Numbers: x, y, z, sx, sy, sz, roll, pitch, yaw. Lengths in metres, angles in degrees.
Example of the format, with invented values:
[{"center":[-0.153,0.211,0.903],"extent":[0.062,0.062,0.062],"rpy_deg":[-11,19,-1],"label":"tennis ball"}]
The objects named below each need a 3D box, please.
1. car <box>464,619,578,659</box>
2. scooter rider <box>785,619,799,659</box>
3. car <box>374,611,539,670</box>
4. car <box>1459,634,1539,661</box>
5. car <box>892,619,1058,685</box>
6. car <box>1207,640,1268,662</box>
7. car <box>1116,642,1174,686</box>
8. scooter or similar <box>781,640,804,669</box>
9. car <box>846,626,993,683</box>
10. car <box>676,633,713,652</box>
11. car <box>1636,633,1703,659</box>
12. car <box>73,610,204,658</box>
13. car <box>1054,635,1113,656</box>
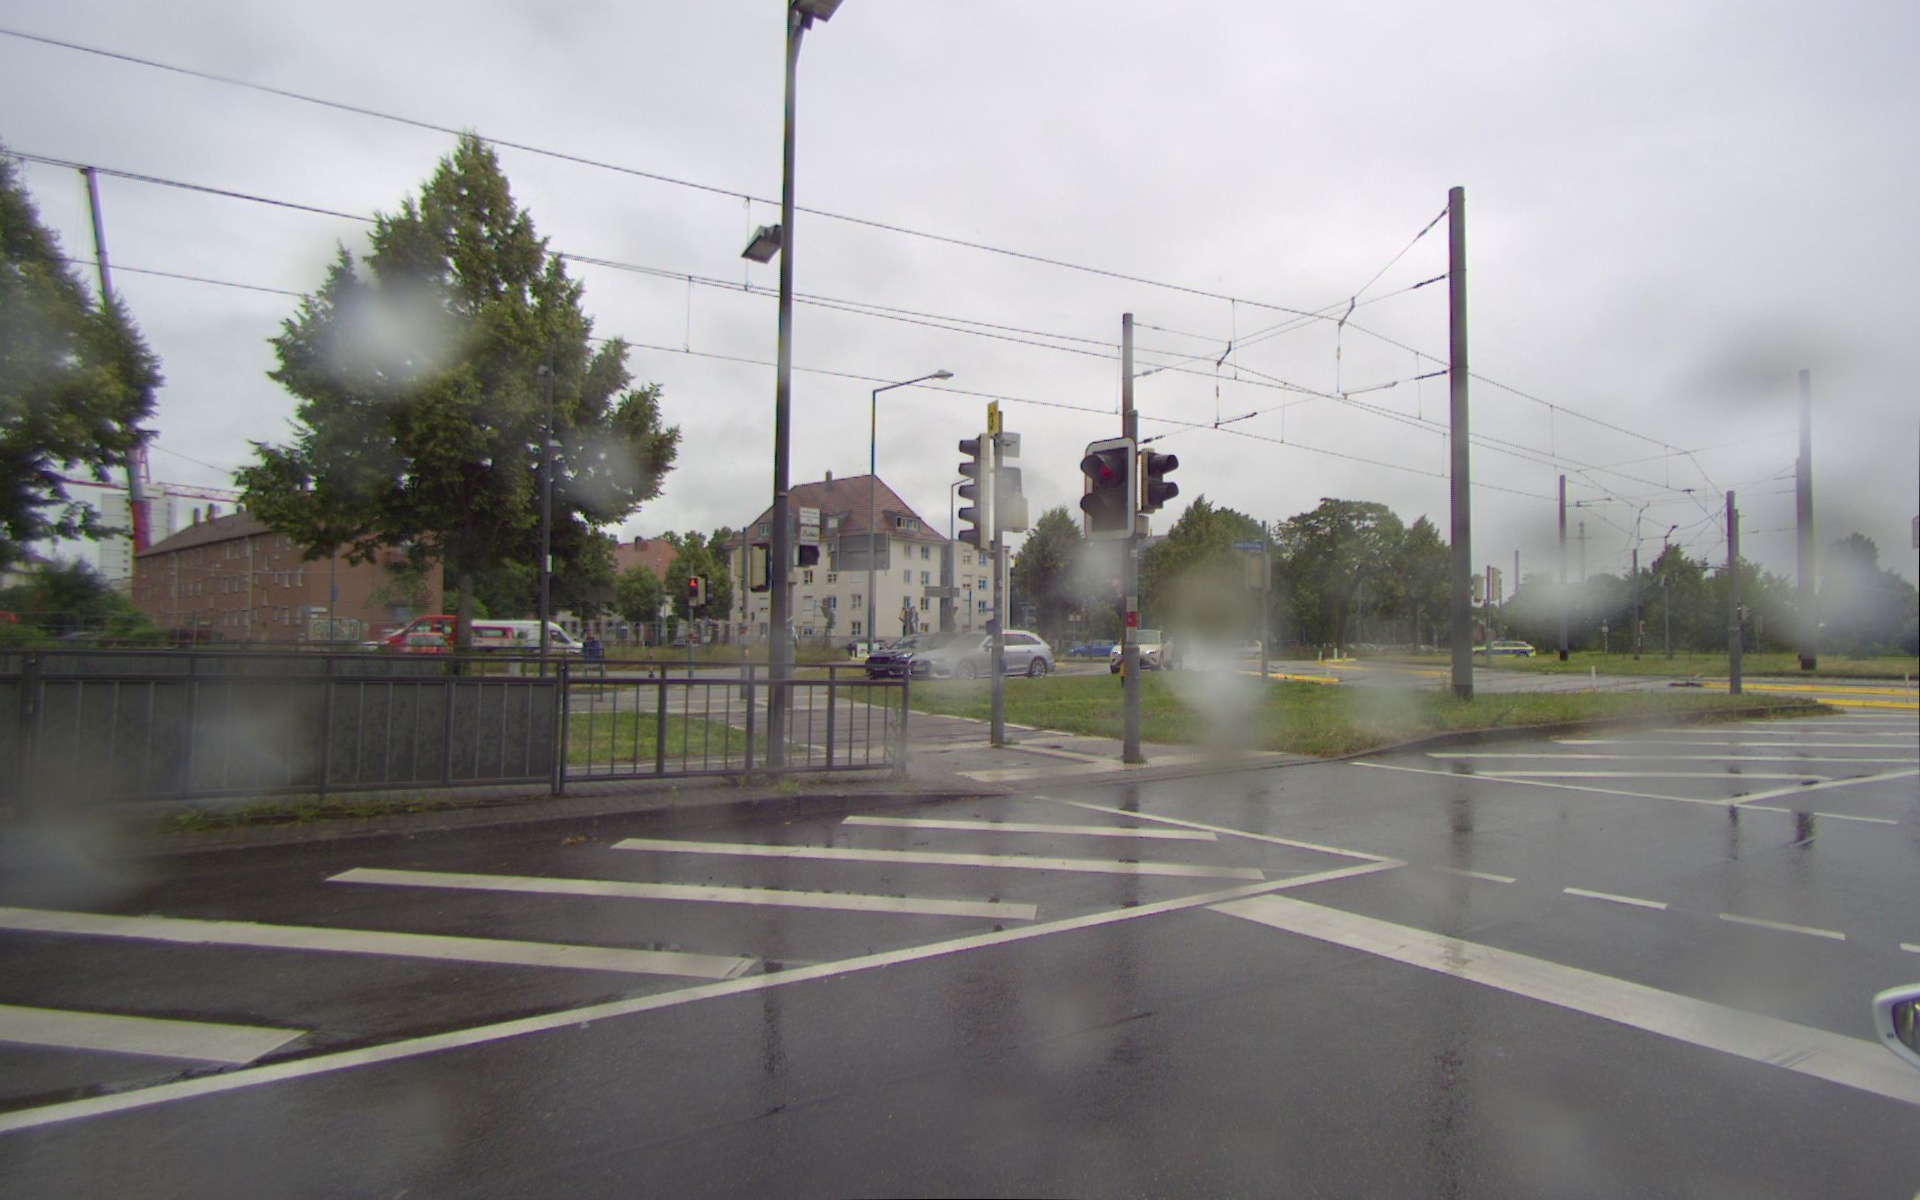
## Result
[{"center":[-25.951,2.336,59.615],"extent":[6.004,2.308,1.617],"rpy_deg":[1,-2,-18],"label":"car"},{"center":[-7.438,1.745,44.573],"extent":[0.425,1.731,0.533],"rpy_deg":[-2,-3,14],"label":"scooter rider"},{"center":[-22.350,1.803,44.889],"extent":[6.389,2.502,1.616],"rpy_deg":[1,-2,-20],"label":"car"},{"center":[38.449,3.359,71.758],"extent":[4.679,1.875,2.002],"rpy_deg":[0,-2,9],"label":"car"},{"center":[0.477,1.370,27.373],"extent":[4.371,1.649,1.975],"rpy_deg":[2,-2,-42],"label":"car"},{"center":[19.712,3.632,71.403],"extent":[3.909,1.473,1.624],"rpy_deg":[0,-2,0],"label":"car"},{"center":[6.849,2.311,36.917],"extent":[1.591,1.473,4.114],"rpy_deg":[0,-2,18],"label":"car"},{"center":[-7.419,2.392,44.519],"extent":[0.438,1.276,1.591],"rpy_deg":[-1,-2,14],"label":"scooter or similar"},{"center":[-1.202,1.654,31.226],"extent":[4.371,1.649,1.975],"rpy_deg":[2,-2,-42],"label":"car"},{"center":[-24.898,3.967,94.128],"extent":[3.429,1.563,1.615],"rpy_deg":[2,0,39],"label":"car"},{"center":[55.061,3.557,77.985],"extent":[3.921,1.840,1.681],"rpy_deg":[2,0,-1],"label":"car"},{"center":[-45.385,1.927,55.691],"extent":[5.441,2.485,1.980],"rpy_deg":[3,0,-36],"label":"car"},{"center":[8.854,3.296,72.132],"extent":[3.915,1.473,1.621],"rpy_deg":[1,-2,-10],"label":"car"}]
